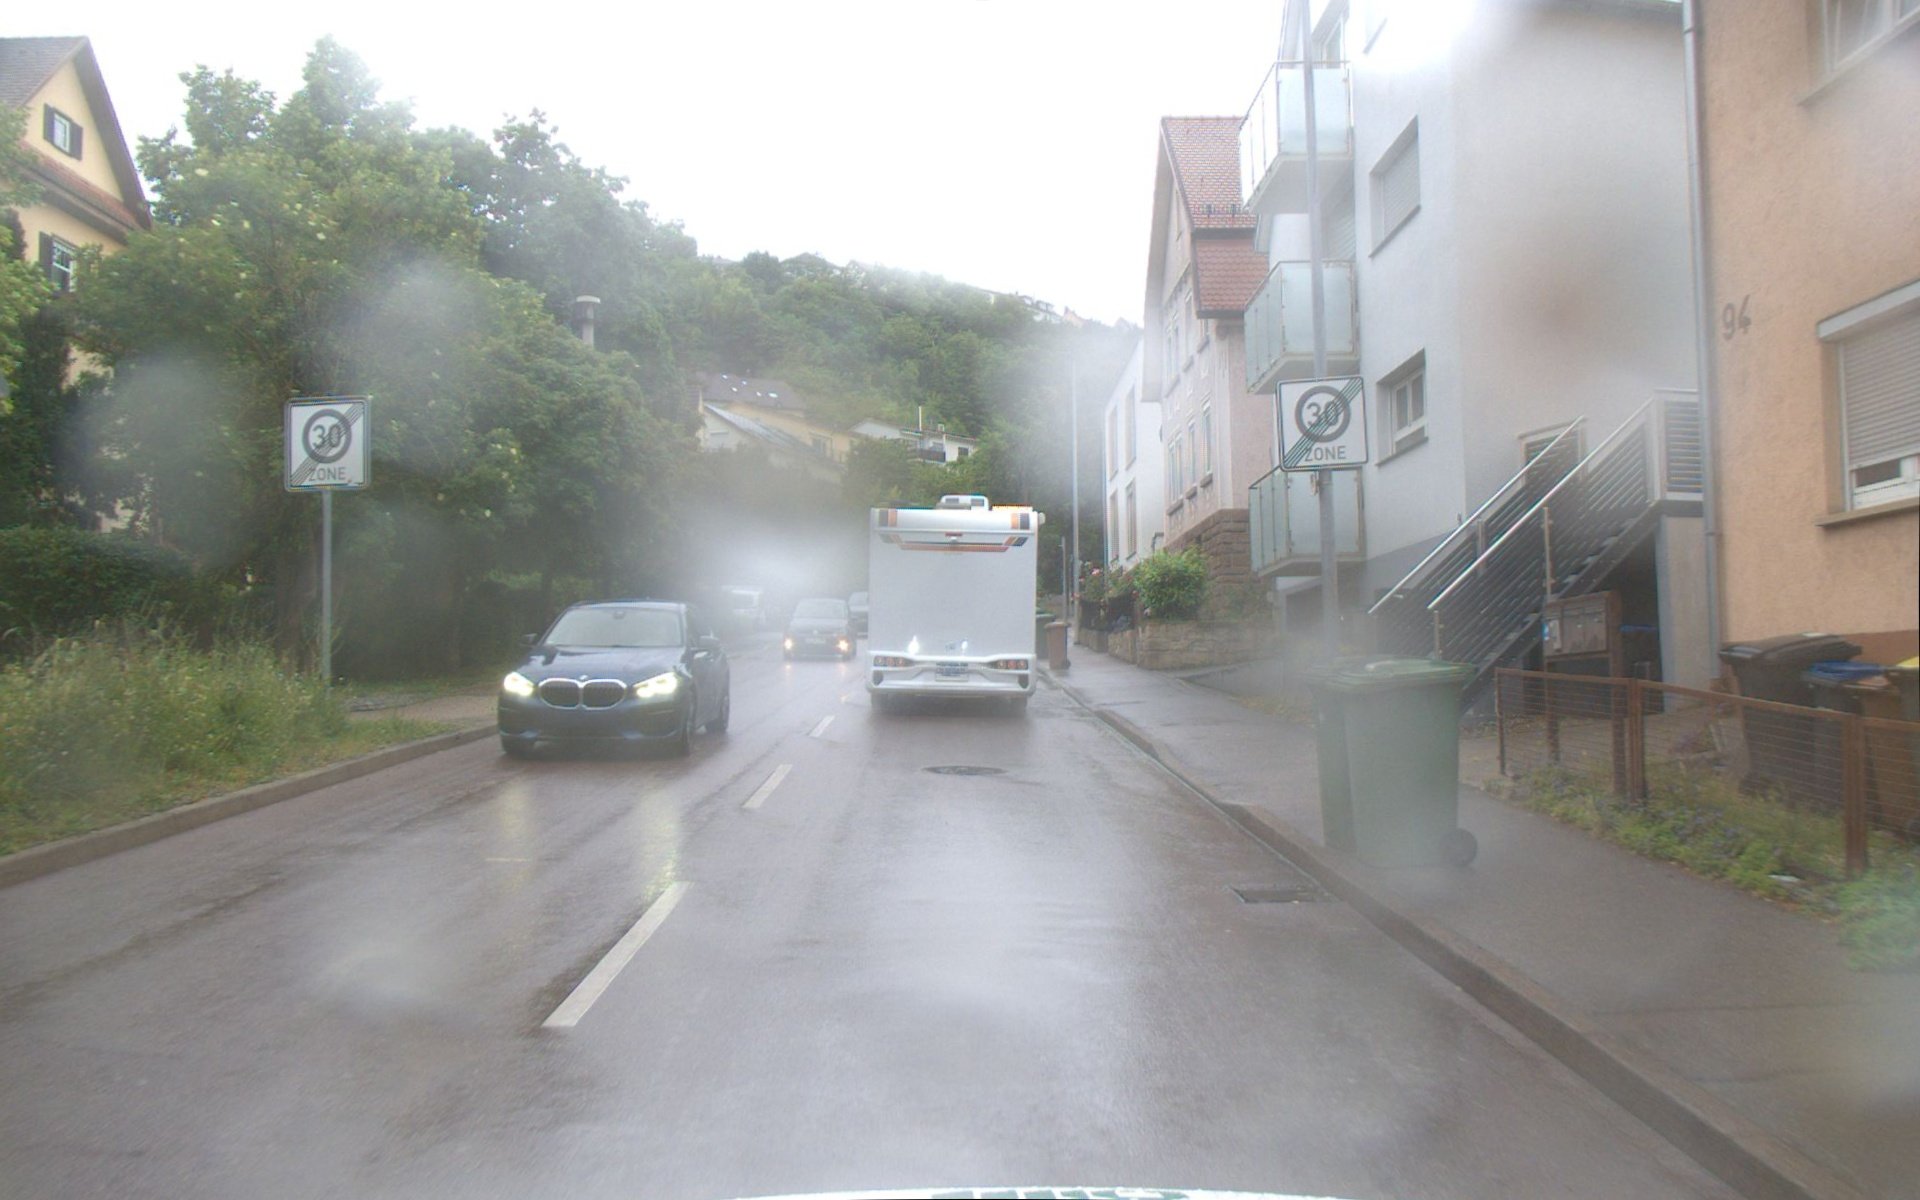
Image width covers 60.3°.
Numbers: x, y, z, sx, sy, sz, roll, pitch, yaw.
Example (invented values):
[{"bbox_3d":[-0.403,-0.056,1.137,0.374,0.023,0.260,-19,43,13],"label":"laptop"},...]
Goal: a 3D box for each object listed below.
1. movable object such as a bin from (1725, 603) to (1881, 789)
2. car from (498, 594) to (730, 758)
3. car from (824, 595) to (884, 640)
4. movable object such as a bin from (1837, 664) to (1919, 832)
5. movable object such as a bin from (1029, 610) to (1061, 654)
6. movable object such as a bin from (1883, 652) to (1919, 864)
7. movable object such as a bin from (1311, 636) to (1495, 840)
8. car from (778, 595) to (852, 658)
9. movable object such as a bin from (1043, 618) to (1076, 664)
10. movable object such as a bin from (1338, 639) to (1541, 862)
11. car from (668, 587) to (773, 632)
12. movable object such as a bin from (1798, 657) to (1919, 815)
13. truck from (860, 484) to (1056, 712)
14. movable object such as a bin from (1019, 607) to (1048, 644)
[{"bbox_3d":[5.404,0.600,10.629,0.647,1.112,0.545,-4,0,-3],"label":"movable object such as a bin"},{"bbox_3d":[-3.359,0.668,16.698,1.684,1.455,3.843,0,0,-3],"label":"car"},{"bbox_3d":[-3.949,0.637,62.346,1.878,1.652,4.364,0,0,1],"label":"car"},{"bbox_3d":[5.496,0.832,9.475,0.656,0.911,0.536,0,0,-1],"label":"movable object such as a bin"},{"bbox_3d":[2.123,0.790,41.381,0.780,1.089,0.761,0,0,1],"label":"movable object such as a bin"},{"bbox_3d":[5.397,0.829,8.748,0.647,1.112,0.545,-4,0,-3],"label":"movable object such as a bin"},{"bbox_3d":[2.560,0.780,9.623,0.895,1.122,0.702,0,0,1],"label":"movable object such as a bin"},{"bbox_3d":[-3.518,0.607,40.613,1.585,1.466,3.736,0,0,-2],"label":"car"},{"bbox_3d":[2.038,0.836,33.941,0.617,0.913,0.712,0,0,-1],"label":"movable object such as a bin"},{"bbox_3d":[2.550,0.782,8.875,0.895,1.122,0.702,0,0,1],"label":"movable object such as a bin"},{"bbox_3d":[-9.953,0.406,68.846,4.021,1.831,2.000,0,0,1],"label":"car"},{"bbox_3d":[5.536,0.811,10.047,0.624,0.911,0.536,0,0,-1],"label":"movable object such as a bin"},{"bbox_3d":[-0.065,-0.030,23.988,2.464,2.867,6.200,0,0,-1],"label":"truck"},{"bbox_3d":[2.170,0.736,48.840,0.818,1.079,0.750,0,0,0],"label":"movable object such as a bin"}]
